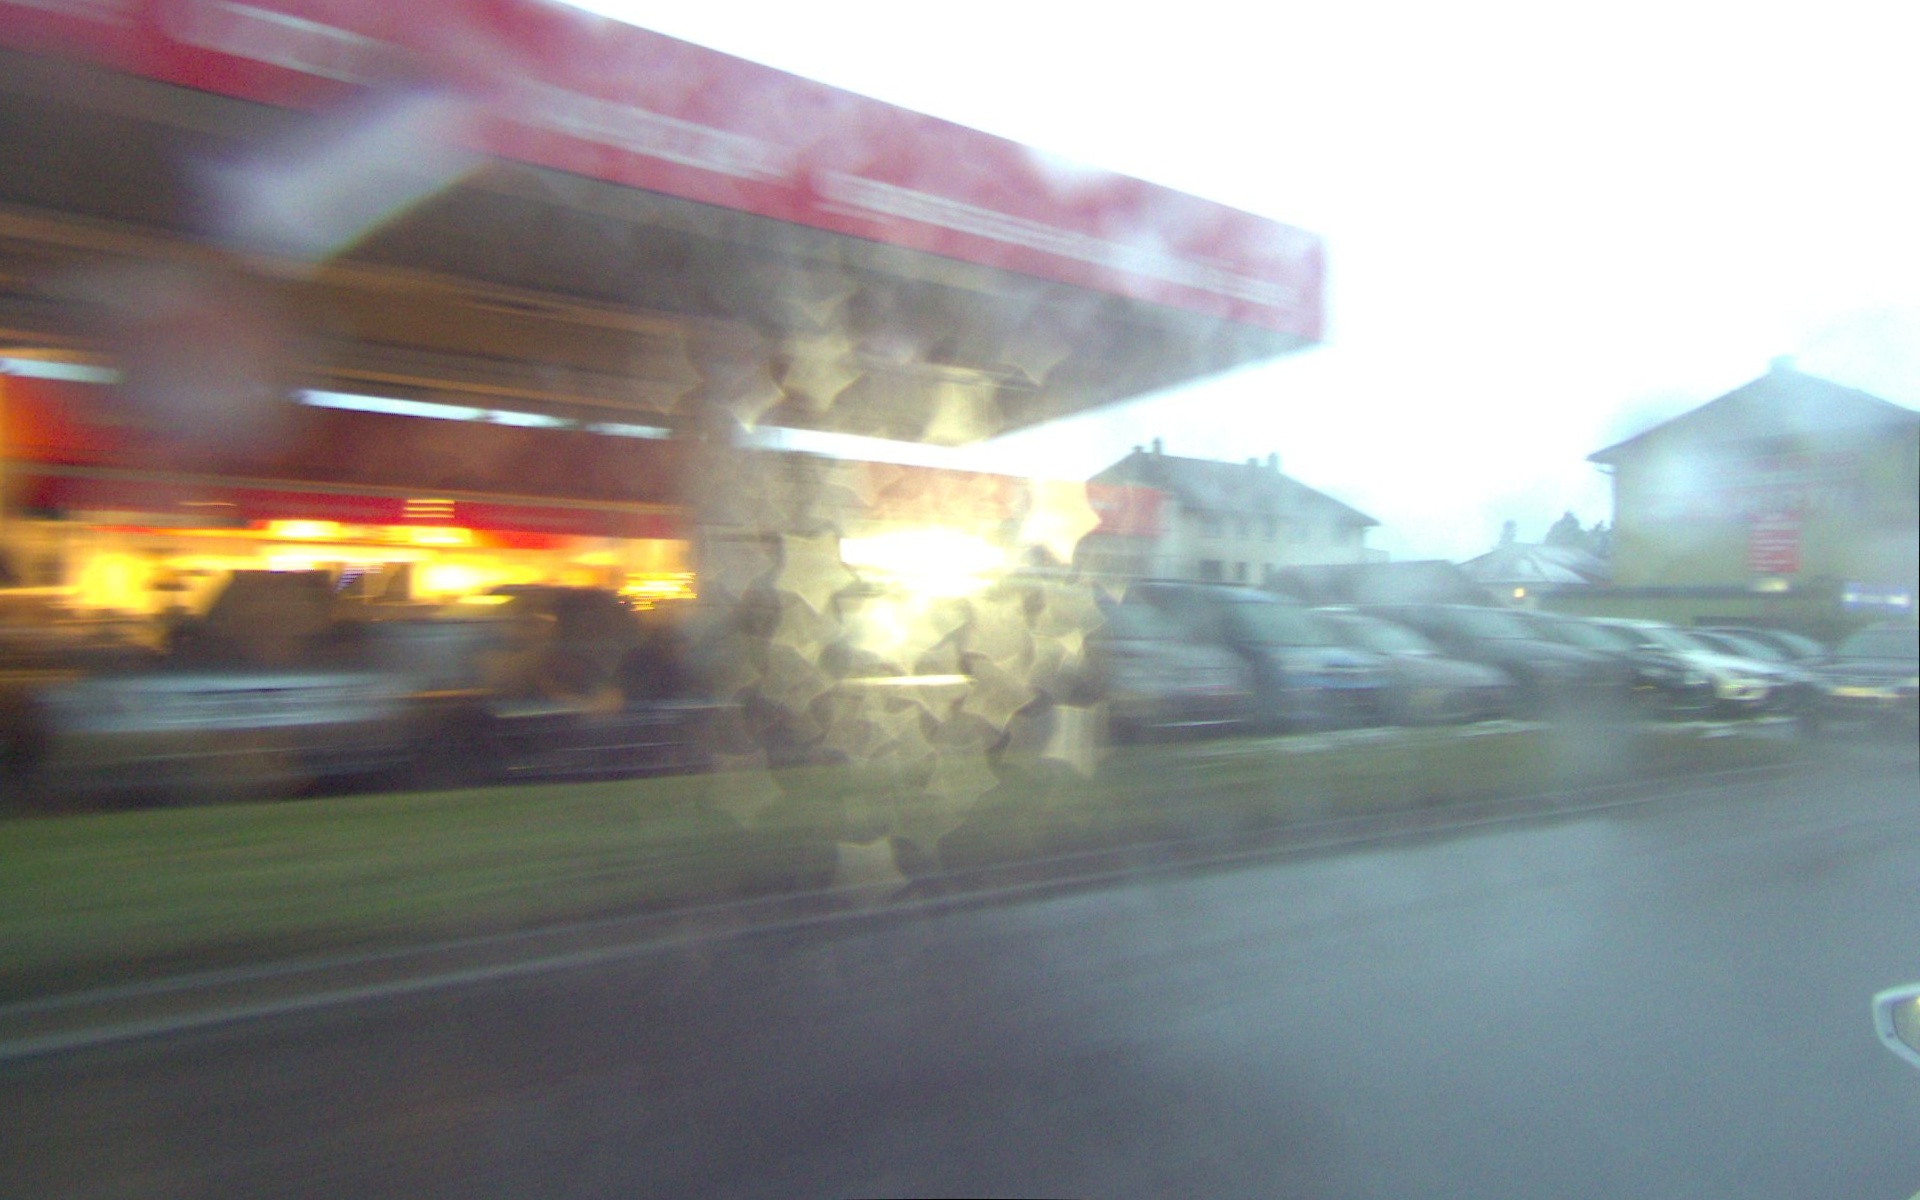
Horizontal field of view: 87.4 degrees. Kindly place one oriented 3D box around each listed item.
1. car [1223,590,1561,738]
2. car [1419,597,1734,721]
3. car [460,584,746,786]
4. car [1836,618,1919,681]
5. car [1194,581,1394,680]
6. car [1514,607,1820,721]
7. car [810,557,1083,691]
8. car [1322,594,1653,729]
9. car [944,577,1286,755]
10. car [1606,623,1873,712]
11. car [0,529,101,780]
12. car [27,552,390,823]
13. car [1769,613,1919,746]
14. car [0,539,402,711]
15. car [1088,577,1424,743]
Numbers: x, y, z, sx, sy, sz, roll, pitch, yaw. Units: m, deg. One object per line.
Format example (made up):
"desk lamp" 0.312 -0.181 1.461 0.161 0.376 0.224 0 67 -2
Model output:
"car" 6.216 0.809 14.984 1.976 1.685 4.256 1 2 -30
"car" 10.636 0.918 17.693 1.976 1.685 4.256 1 2 -30
"car" -3.511 0.615 9.405 1.818 1.461 3.839 1 0 -30
"car" 29.430 1.498 29.534 1.975 1.814 5.168 2 0 -28
"car" 7.148 0.642 21.441 3.955 1.929 1.983 2 -1 -31
"car" 13.192 1.100 19.037 1.976 1.649 4.256 1 2 -30
"car" -0.183 0.384 16.035 3.955 1.894 1.876 2 -1 -31
"car" 8.370 0.868 16.354 2.111 1.685 4.256 1 2 -30
"car" 1.711 0.651 12.592 1.976 1.685 4.256 1 2 -30
"car" 15.528 1.276 20.229 1.699 1.447 3.876 2 1 -29
"car" -7.599 0.343 6.795 1.958 1.679 4.259 1 0 -30
"car" -5.628 0.511 8.003 1.818 1.580 3.839 1 0 -30
"car" 14.981 1.166 15.905 4.460 1.855 1.961 1 -1 -31
"car" -8.695 0.265 11.378 4.100 1.679 1.879 1 0 -31
"car" 3.884 0.674 13.977 1.976 1.787 4.256 1 2 -30
